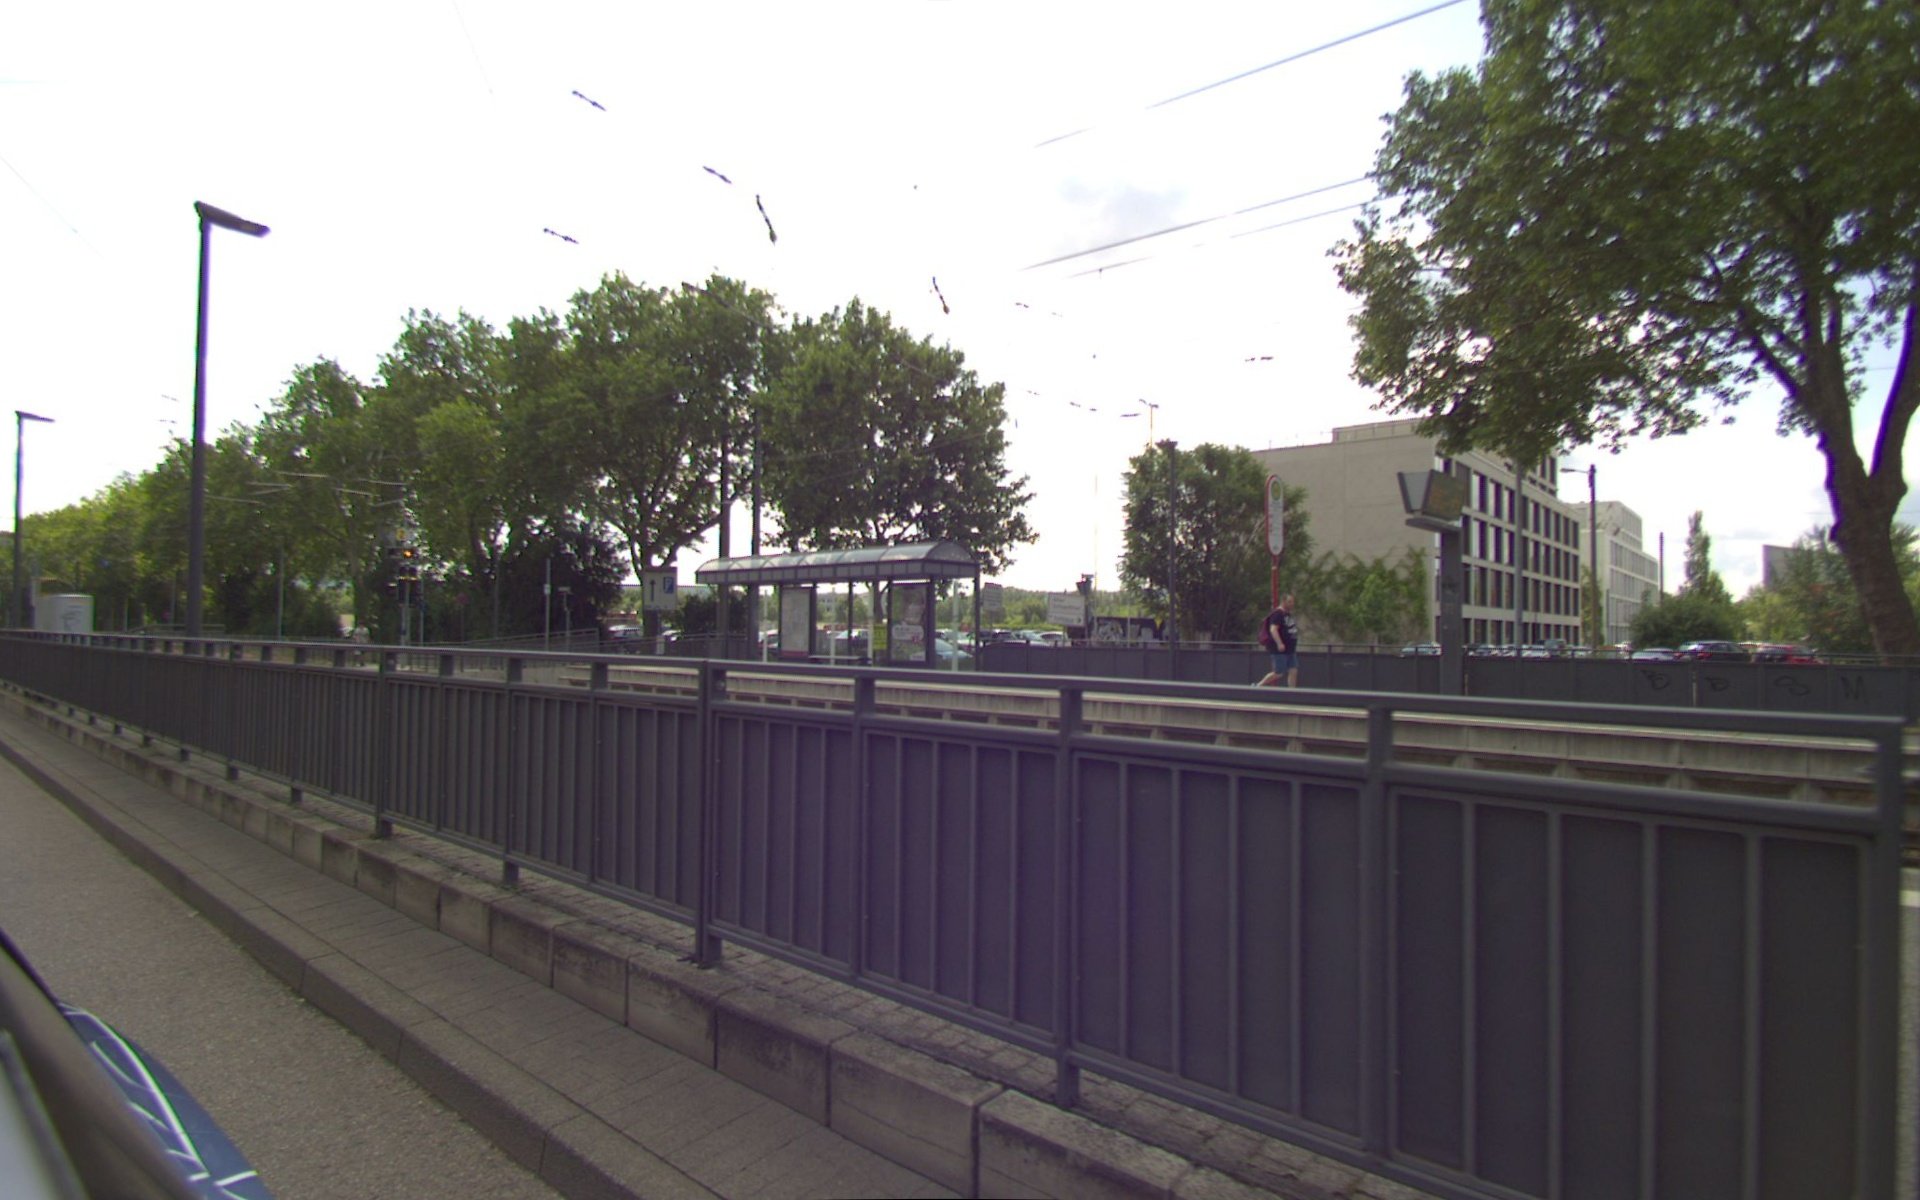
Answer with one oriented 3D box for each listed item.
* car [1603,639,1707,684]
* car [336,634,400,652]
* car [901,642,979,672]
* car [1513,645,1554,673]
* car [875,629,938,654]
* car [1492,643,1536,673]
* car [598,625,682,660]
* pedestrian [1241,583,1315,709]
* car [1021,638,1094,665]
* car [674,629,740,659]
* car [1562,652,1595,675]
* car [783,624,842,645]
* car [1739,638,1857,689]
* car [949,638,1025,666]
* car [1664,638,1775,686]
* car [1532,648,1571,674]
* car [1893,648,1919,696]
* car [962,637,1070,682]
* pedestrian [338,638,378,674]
[{"bbox_3d":[33.623,2.961,48.953,4.362,2.029,2.006,3,-4,-21],"label":"car"},{"bbox_3d":[-46.937,3.410,80.255,1.999,1.453,3.945,-2,-3,41],"label":"car"},{"bbox_3d":[-1.063,3.014,53.875,3.997,1.487,1.779,-2,-4,41],"label":"car"},{"bbox_3d":[40.071,4.160,70.704,1.759,1.828,3.990,-1,-4,41],"label":"car"},{"bbox_3d":[-3.442,2.630,65.337,1.777,1.438,3.945,-1,0,42],"label":"car"},{"bbox_3d":[36.223,3.787,66.140,1.759,1.828,3.990,-1,-4,41],"label":"car"},{"bbox_3d":[-18.114,2.436,57.350,1.999,1.845,4.053,-1,-4,42],"label":"car"},{"bbox_3d":[4.870,0.703,15.499,0.864,1.859,0.699,-2,-3,40],"label":"pedestrian"},{"bbox_3d":[5.885,3.114,61.278,4.104,1.494,1.860,-1,-4,41],"label":"car"},{"bbox_3d":[-17.753,3.105,71.201,1.998,1.913,4.057,-1,-4,38],"label":"car"},{"bbox_3d":[51.572,5.278,84.384,1.759,1.828,3.990,-1,-4,41],"label":"car"},{"bbox_3d":[-10.746,2.514,73.895,3.940,1.497,1.717,3,-3,-45],"label":"car"},{"bbox_3d":[35.915,2.712,43.381,4.362,2.029,2.006,3,-4,-21],"label":"car"},{"bbox_3d":[1.469,2.871,55.721,3.997,1.487,1.779,-2,-4,41],"label":"car"},{"bbox_3d":[34.723,2.841,46.273,4.362,2.029,2.006,3,-4,-21],"label":"car"},{"bbox_3d":[43.842,4.515,74.972,1.759,1.828,3.990,-1,-4,41],"label":"car"},{"bbox_3d":[42.489,3.060,43.044,3.936,2.029,2.004,1,-3,-9],"label":"car"},{"bbox_3d":[1.961,2.111,36.113,3.654,1.546,1.671,-3,-4,44],"label":"car"},{"bbox_3d":[-23.088,2.149,38.843,0.912,1.354,0.862,1,-3,8],"label":"pedestrian"}]
